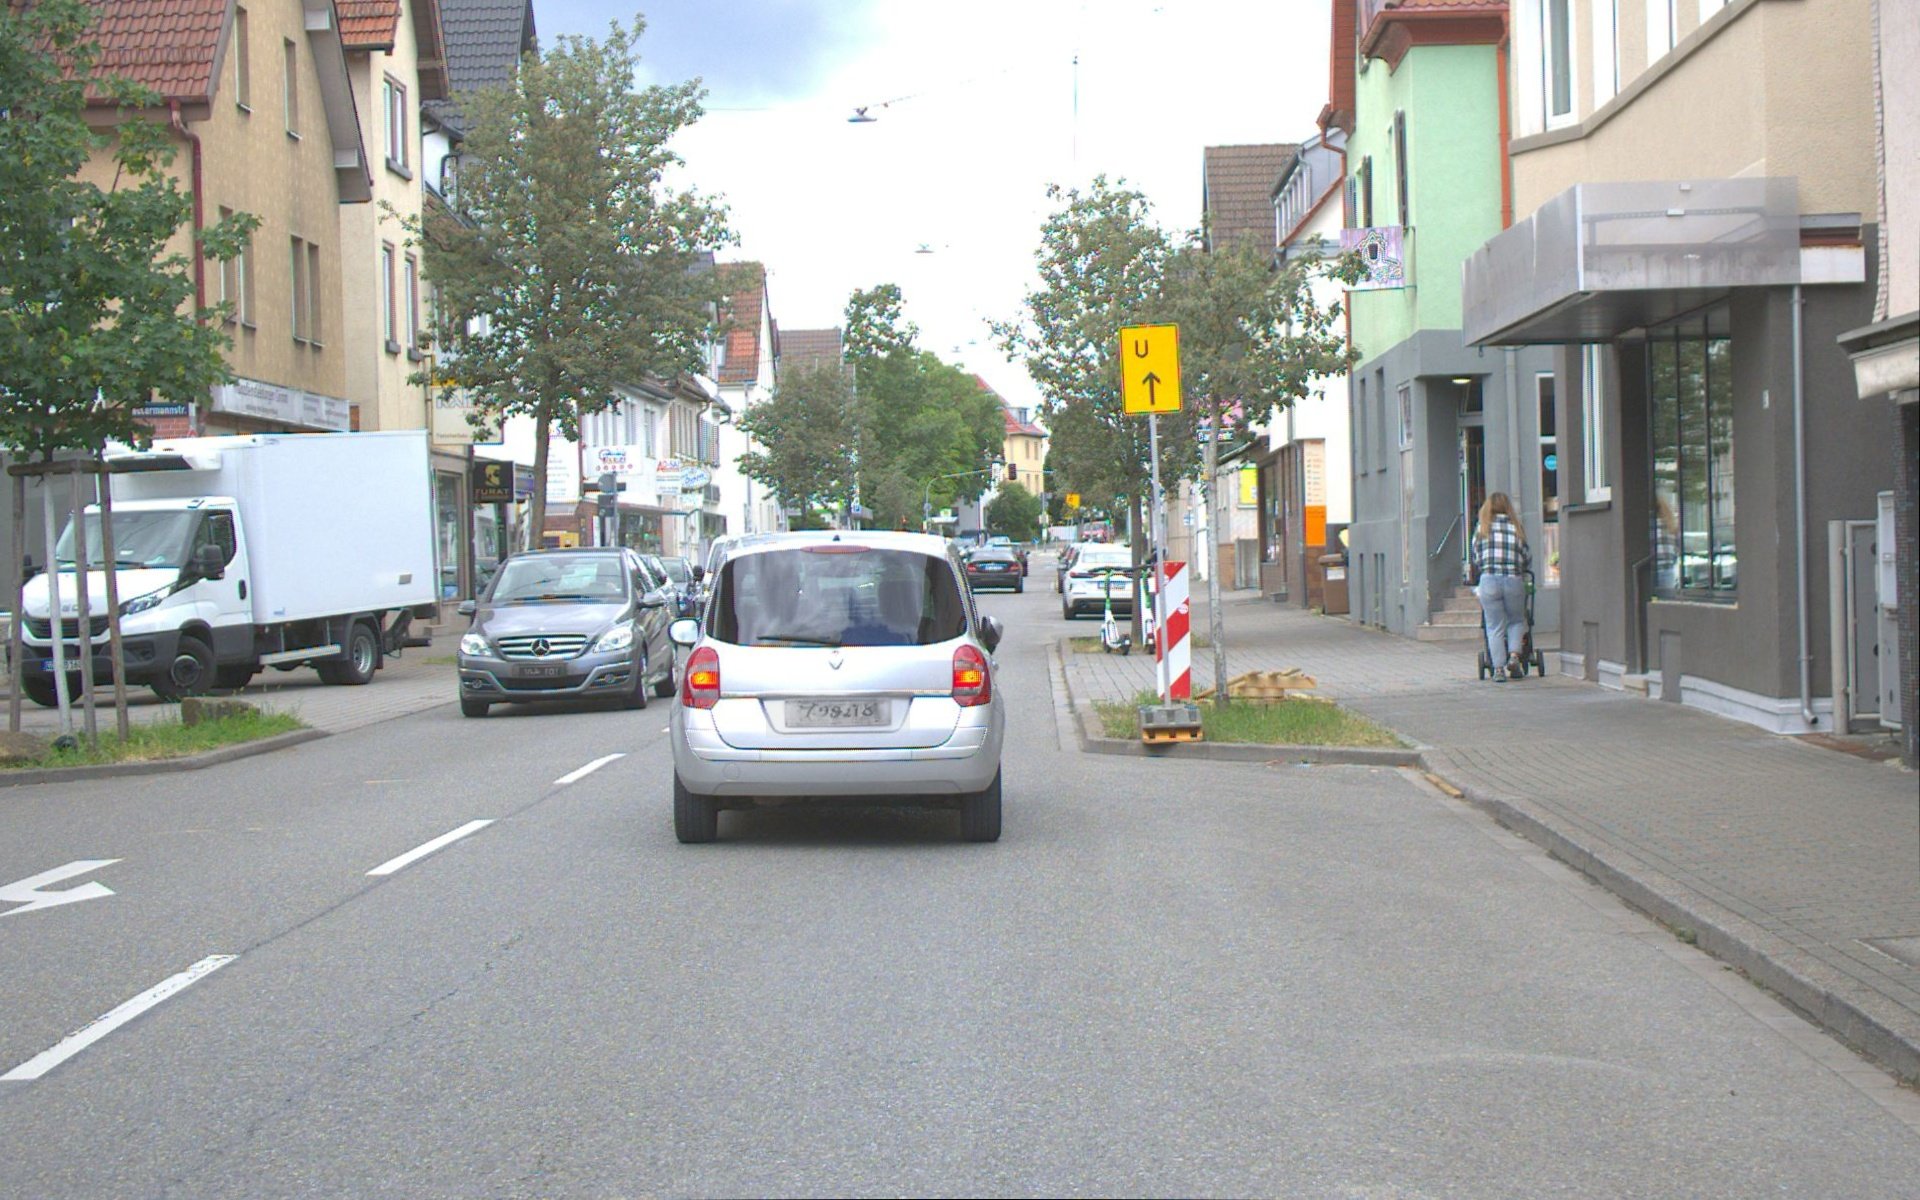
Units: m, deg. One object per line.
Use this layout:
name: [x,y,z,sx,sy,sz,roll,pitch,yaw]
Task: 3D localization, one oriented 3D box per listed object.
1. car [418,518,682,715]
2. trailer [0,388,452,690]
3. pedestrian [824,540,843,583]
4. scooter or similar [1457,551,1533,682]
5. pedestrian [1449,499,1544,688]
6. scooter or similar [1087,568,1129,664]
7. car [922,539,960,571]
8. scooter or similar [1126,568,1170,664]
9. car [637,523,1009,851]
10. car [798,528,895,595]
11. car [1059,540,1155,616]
car: [-4.007,0.129,34.285,1.993,1.790,4.277,-2,1,1]
trailer: [-8.732,-0.693,40.325,2.505,3.208,7.128,0,1,19]
pedestrian: [-5.284,-1.593,143.759,0.762,1.785,0.890,0,0,1]
scooter or similar: [5.083,0.150,32.710,0.589,1.228,0.891,0,1,1]
pedestrian: [4.948,-0.066,31.763,0.750,1.714,0.900,0,0,2]
scooter or similar: [1.950,0.199,45.540,0.502,1.231,1.942,0,1,1]
car: [-1.066,-2.532,195.200,1.901,1.731,4.366,-2,1,2]
scooter or similar: [2.484,0.202,45.522,0.502,1.231,1.942,0,1,1]
car: [-0.633,0.394,18.577,1.682,1.560,3.993,1,1,2]
car: [-2.557,-0.878,78.387,1.843,1.428,4.543,-2,1,2]
car: [2.921,-0.456,68.404,1.831,1.441,4.331,1,1,2]
